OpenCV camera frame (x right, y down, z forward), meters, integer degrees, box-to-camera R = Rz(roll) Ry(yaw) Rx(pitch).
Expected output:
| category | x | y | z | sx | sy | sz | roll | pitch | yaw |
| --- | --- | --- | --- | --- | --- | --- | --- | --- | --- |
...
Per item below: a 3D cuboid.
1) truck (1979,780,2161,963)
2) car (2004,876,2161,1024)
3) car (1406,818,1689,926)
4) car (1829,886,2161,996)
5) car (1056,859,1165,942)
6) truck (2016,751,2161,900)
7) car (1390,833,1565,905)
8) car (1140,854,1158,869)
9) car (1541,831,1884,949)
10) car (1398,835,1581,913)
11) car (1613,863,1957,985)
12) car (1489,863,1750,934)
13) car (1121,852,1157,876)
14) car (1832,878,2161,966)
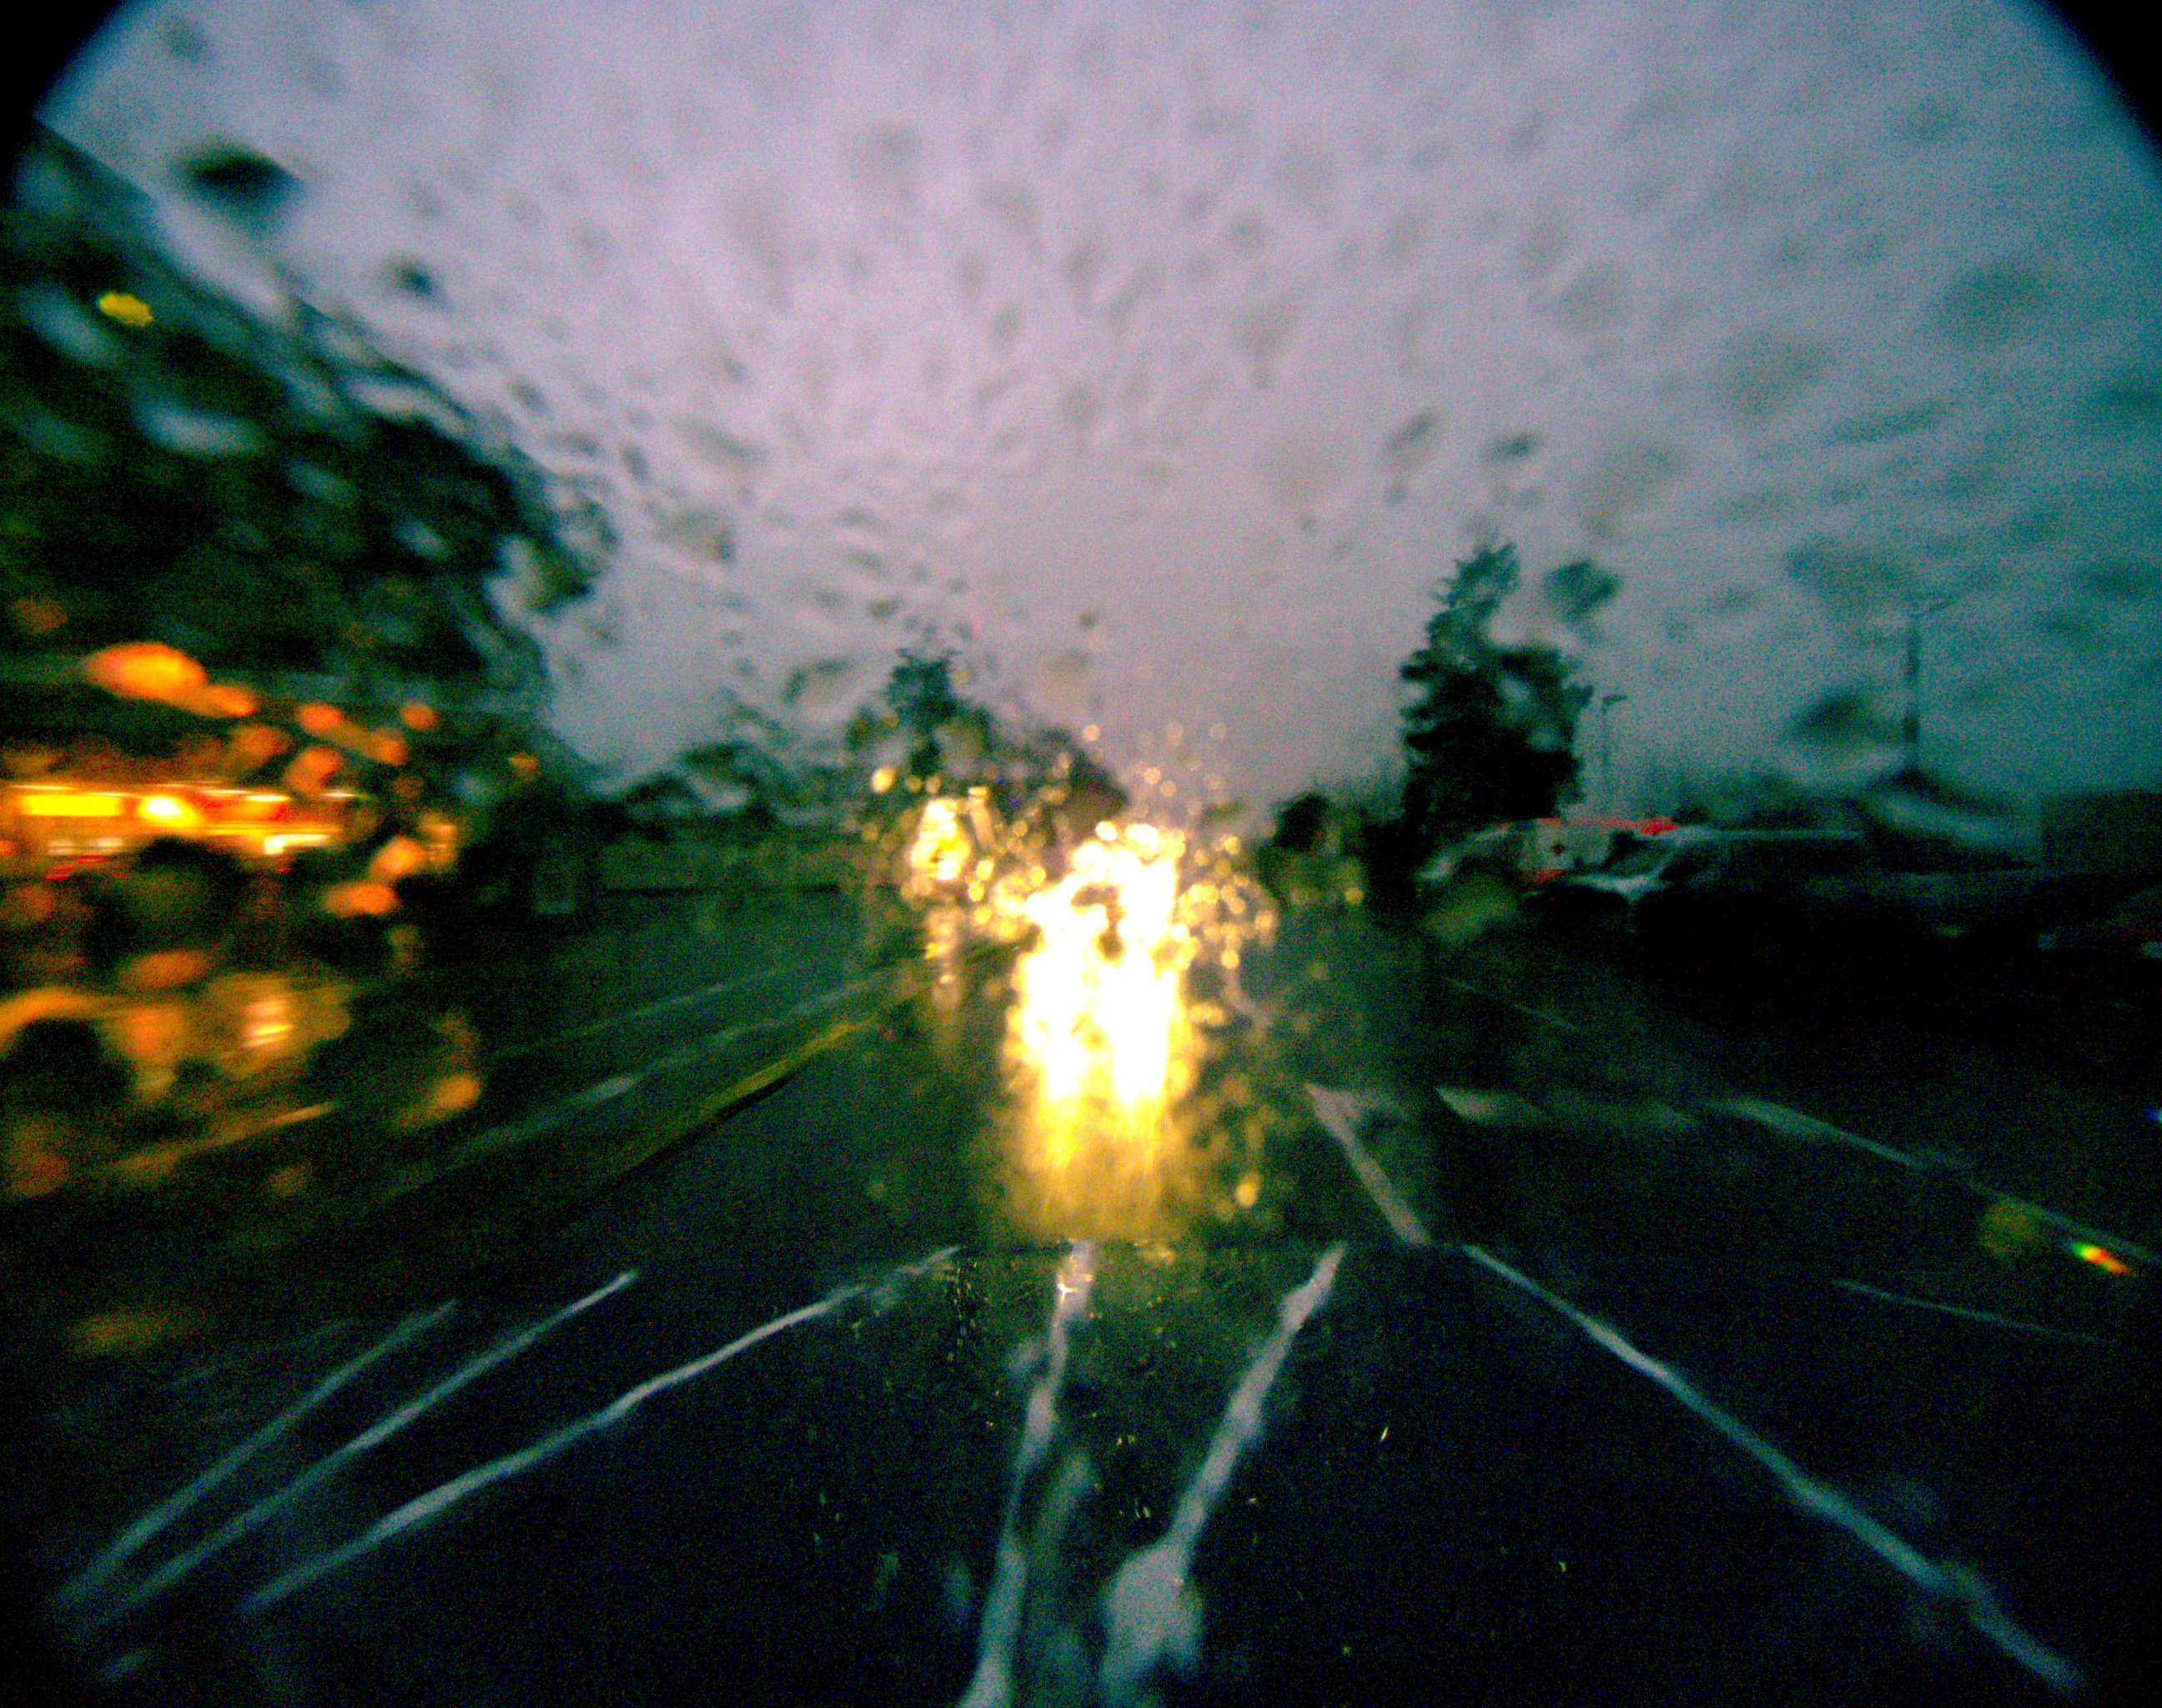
| category | x | y | z | sx | sy | sz | roll | pitch | yaw |
| --- | --- | --- | --- | --- | --- | --- | --- | --- | --- |
| truck | 21.237 | 0.358 | 14.123 | 2.036 | 3.434 | 5.852 | 2 | 0 | 0 |
| car | 12.751 | 1.008 | 8.397 | 3.235 | 1.483 | 1.499 | 0 | 0 | 1 |
| car | 12.387 | 0.447 | 20.585 | 6.169 | 2.617 | 2.177 | 1 | 0 | 4 |
| car | 12.738 | 1.154 | 10.511 | 3.311 | 1.320 | 1.480 | 0 | 1 | 0 |
| car | 0.558 | 0.886 | 16.324 | 2.015 | 1.484 | 4.000 | -1 | 0 | 0 |
| truck | 34.665 | -0.954 | 23.520 | 8.712 | 4.237 | 3.005 | -2 | 1 | -7 |
| car | 14.084 | 0.499 | 27.221 | 5.114 | 2.376 | 2.081 | 1 | 0 | 2 |
| car | 7.732 | 0.838 | 87.071 | 1.889 | 1.618 | 4.000 | -1 | 0 | 2 |
| car | 12.757 | 0.675 | 15.682 | 5.157 | 2.138 | 2.059 | 1 | 0 | 4 |
| car | 12.875 | 0.611 | 24.181 | 4.677 | 2.259 | 1.988 | 1 | 0 | 4 |
| car | 9.613 | 0.860 | 10.845 | 1.654 | 1.411 | 3.744 | 1 | -1 | 5 |
| car | 12.735 | 1.018 | 18.252 | 4.759 | 1.474 | 1.955 | 1 | 0 | 4 |
| car | 3.747 | 0.646 | 49.688 | 2.015 | 1.484 | 4.000 | 0 | 0 | 0 |
| car | 16.080 | 1.141 | 13.327 | 3.997 | 1.374 | 1.842 | 1 | -1 | 0 |
